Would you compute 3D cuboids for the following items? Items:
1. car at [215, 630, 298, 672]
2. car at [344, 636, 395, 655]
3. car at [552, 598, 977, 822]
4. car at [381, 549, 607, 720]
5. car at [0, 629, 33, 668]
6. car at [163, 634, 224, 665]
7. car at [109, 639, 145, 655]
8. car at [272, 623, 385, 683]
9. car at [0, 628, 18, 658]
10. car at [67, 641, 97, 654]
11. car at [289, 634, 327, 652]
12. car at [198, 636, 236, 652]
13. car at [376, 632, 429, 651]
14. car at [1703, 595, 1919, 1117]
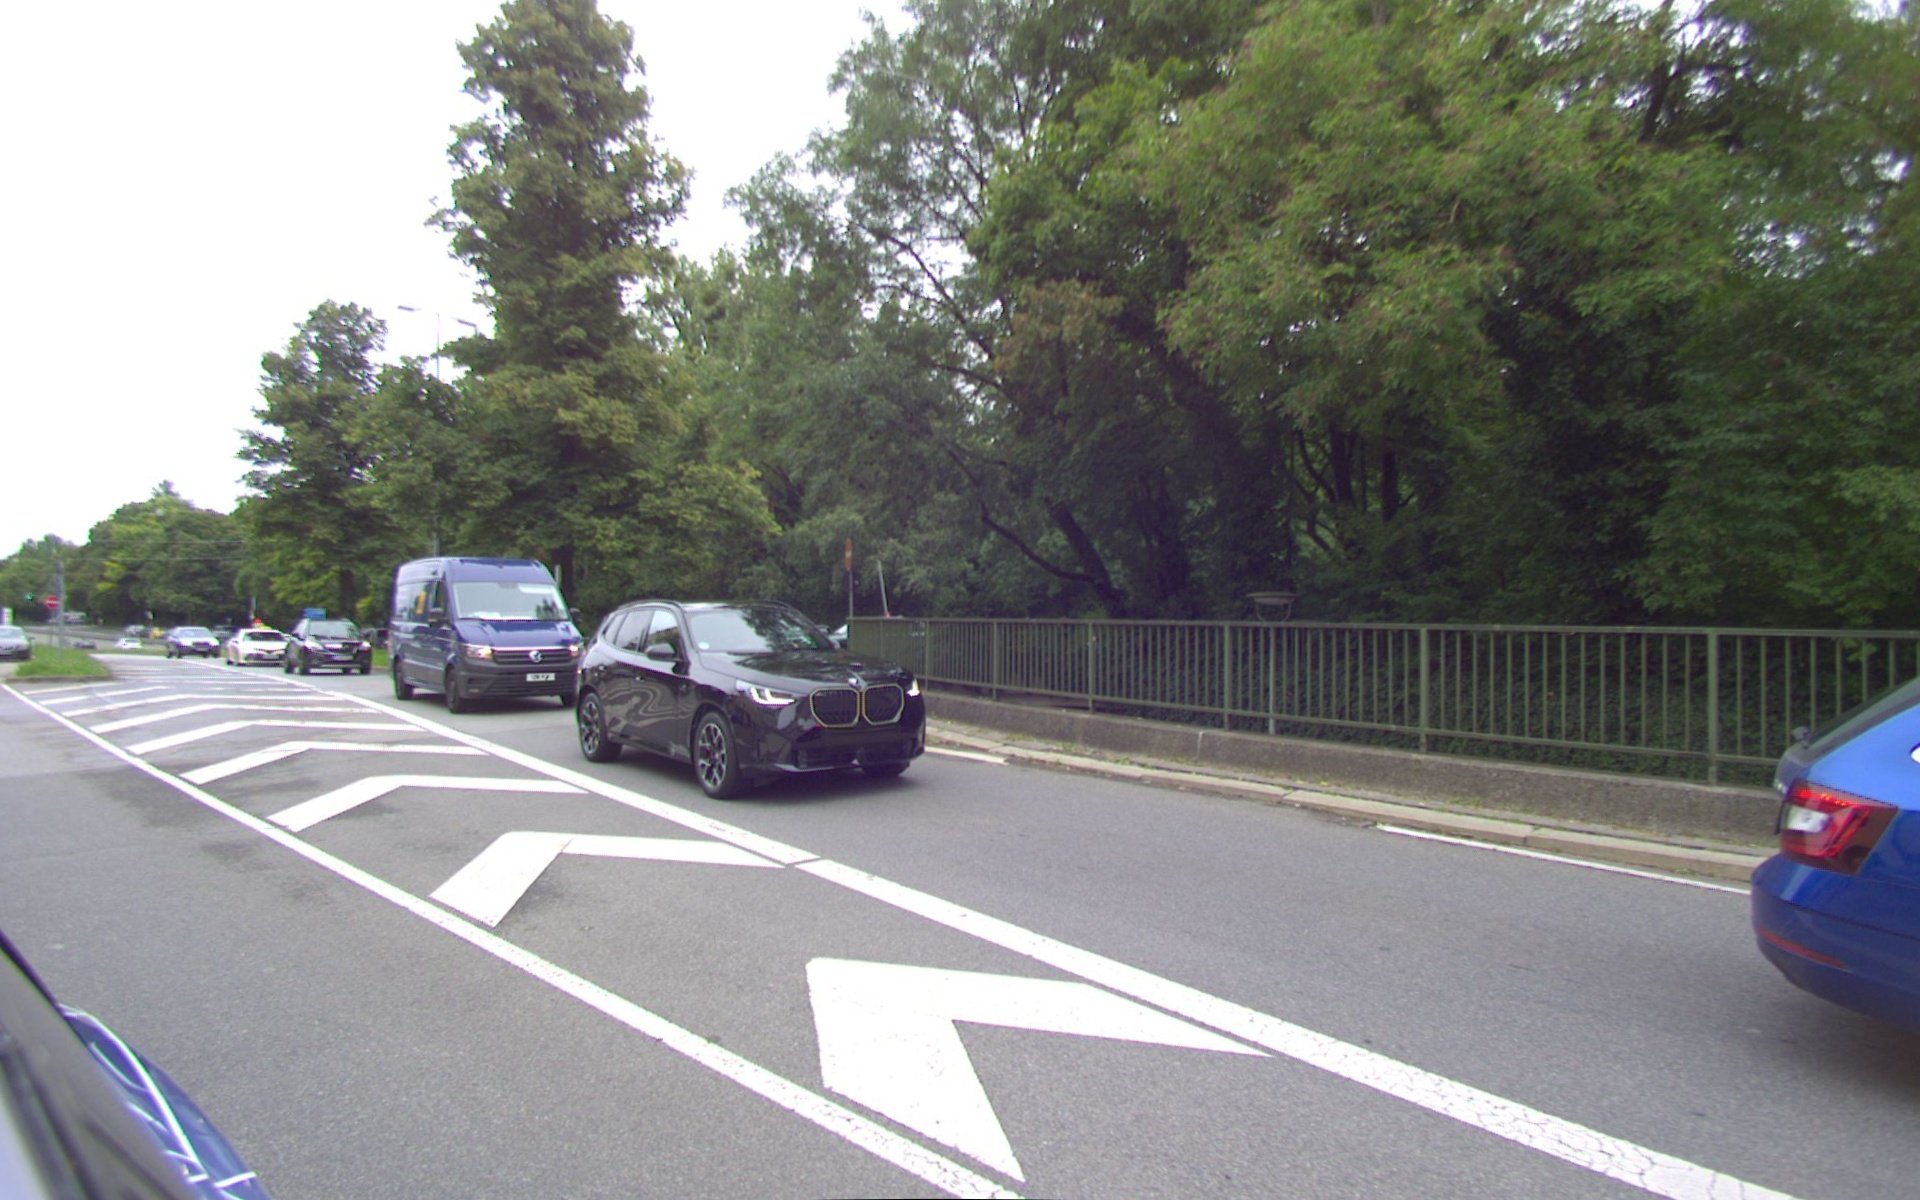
[{"bbox_3d":[-27.632,1.957,39.694,1.964,1.577,4.658,2,-3,-43],"label":"car"},{"bbox_3d":[-48.740,3.736,83.447,4.699,1.546,1.975,-2,-3,37],"label":"car"},{"bbox_3d":[-2.141,0.846,9.737,1.889,1.598,4.838,0,-1,-40],"label":"car"},{"bbox_3d":[-8.307,0.544,17.661,2.156,2.482,5.862,1,-1,-39],"label":"car"},{"bbox_3d":[-40.525,2.010,42.761,1.876,1.577,4.775,2,-3,-43],"label":"car"},{"bbox_3d":[-41.137,2.614,54.290,4.275,1.577,1.965,-2,-3,44],"label":"car"},{"bbox_3d":[-79.657,4.466,96.804,4.231,1.457,1.809,-2,-3,39],"label":"car"},{"bbox_3d":[-18.853,1.528,30.135,1.964,1.640,4.276,2,-3,-44],"label":"car"},{"bbox_3d":[-51.578,2.262,53.851,4.284,1.577,1.964,-2,-3,45],"label":"car"},{"bbox_3d":[-95.436,5.154,109.975,4.030,1.457,1.872,-2,-3,41],"label":"car"},{"bbox_3d":[-60.940,4.015,94.506,3.997,1.569,1.887,0,-1,40],"label":"car"},{"bbox_3d":[-71.992,4.251,98.052,4.025,1.457,1.874,-2,-3,36],"label":"car"},{"bbox_3d":[-43.743,3.238,79.335,4.518,1.457,1.975,-2,-3,37],"label":"car"},{"bbox_3d":[4.663,0.692,2.064,1.962,1.465,4.741,2,-2,-40],"label":"car"}]
